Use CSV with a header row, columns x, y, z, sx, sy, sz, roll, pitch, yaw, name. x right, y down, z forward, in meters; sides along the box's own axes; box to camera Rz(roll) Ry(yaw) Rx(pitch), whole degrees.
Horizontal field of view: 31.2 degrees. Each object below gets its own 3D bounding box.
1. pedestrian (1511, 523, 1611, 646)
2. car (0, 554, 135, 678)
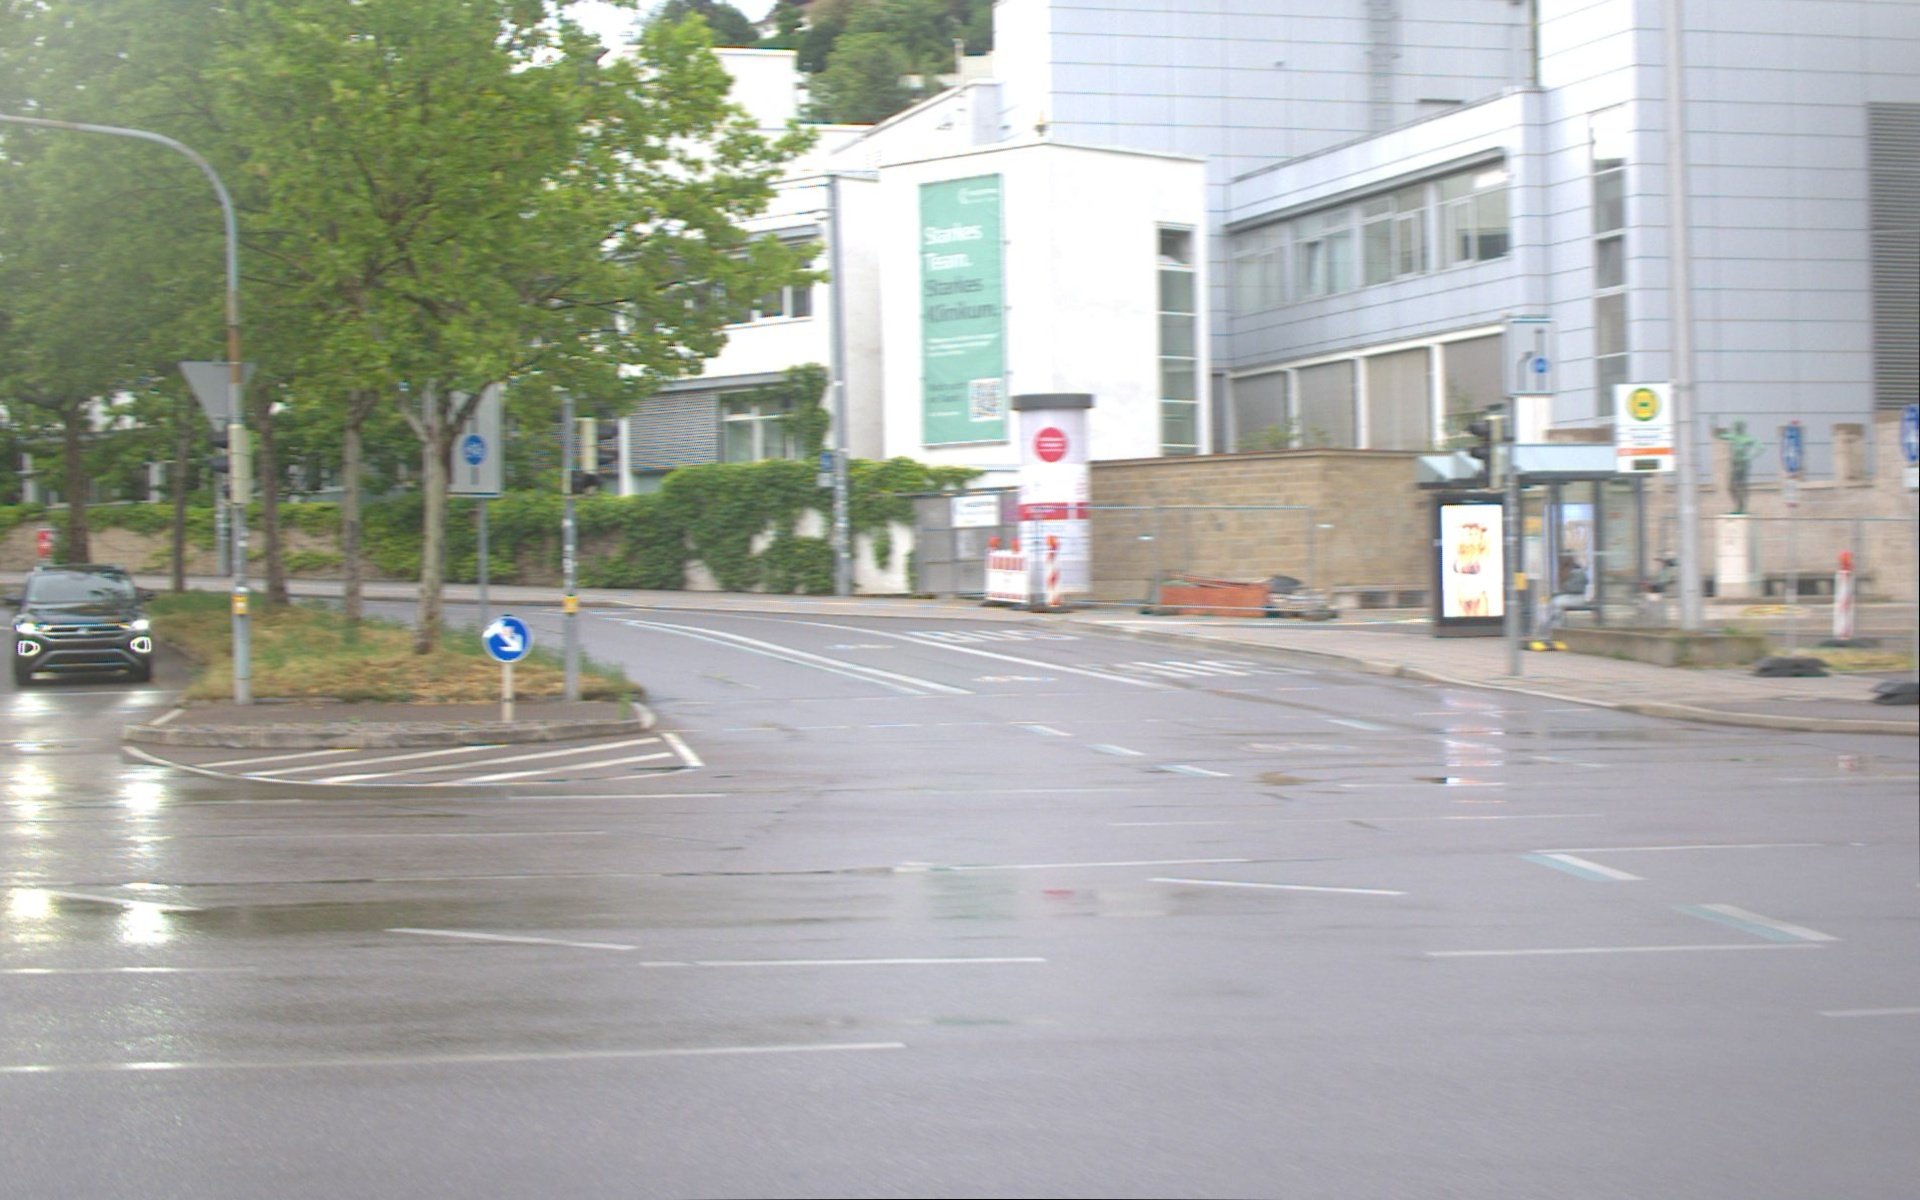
x,y,z,sx,sy,sz,roll,pitch,yaw,name
8.575,-0.212,49.089,1.257,1.713,1.016,1,-1,2,pedestrian
-12.276,0.181,46.552,1.788,1.579,4.001,-1,1,-18,car
